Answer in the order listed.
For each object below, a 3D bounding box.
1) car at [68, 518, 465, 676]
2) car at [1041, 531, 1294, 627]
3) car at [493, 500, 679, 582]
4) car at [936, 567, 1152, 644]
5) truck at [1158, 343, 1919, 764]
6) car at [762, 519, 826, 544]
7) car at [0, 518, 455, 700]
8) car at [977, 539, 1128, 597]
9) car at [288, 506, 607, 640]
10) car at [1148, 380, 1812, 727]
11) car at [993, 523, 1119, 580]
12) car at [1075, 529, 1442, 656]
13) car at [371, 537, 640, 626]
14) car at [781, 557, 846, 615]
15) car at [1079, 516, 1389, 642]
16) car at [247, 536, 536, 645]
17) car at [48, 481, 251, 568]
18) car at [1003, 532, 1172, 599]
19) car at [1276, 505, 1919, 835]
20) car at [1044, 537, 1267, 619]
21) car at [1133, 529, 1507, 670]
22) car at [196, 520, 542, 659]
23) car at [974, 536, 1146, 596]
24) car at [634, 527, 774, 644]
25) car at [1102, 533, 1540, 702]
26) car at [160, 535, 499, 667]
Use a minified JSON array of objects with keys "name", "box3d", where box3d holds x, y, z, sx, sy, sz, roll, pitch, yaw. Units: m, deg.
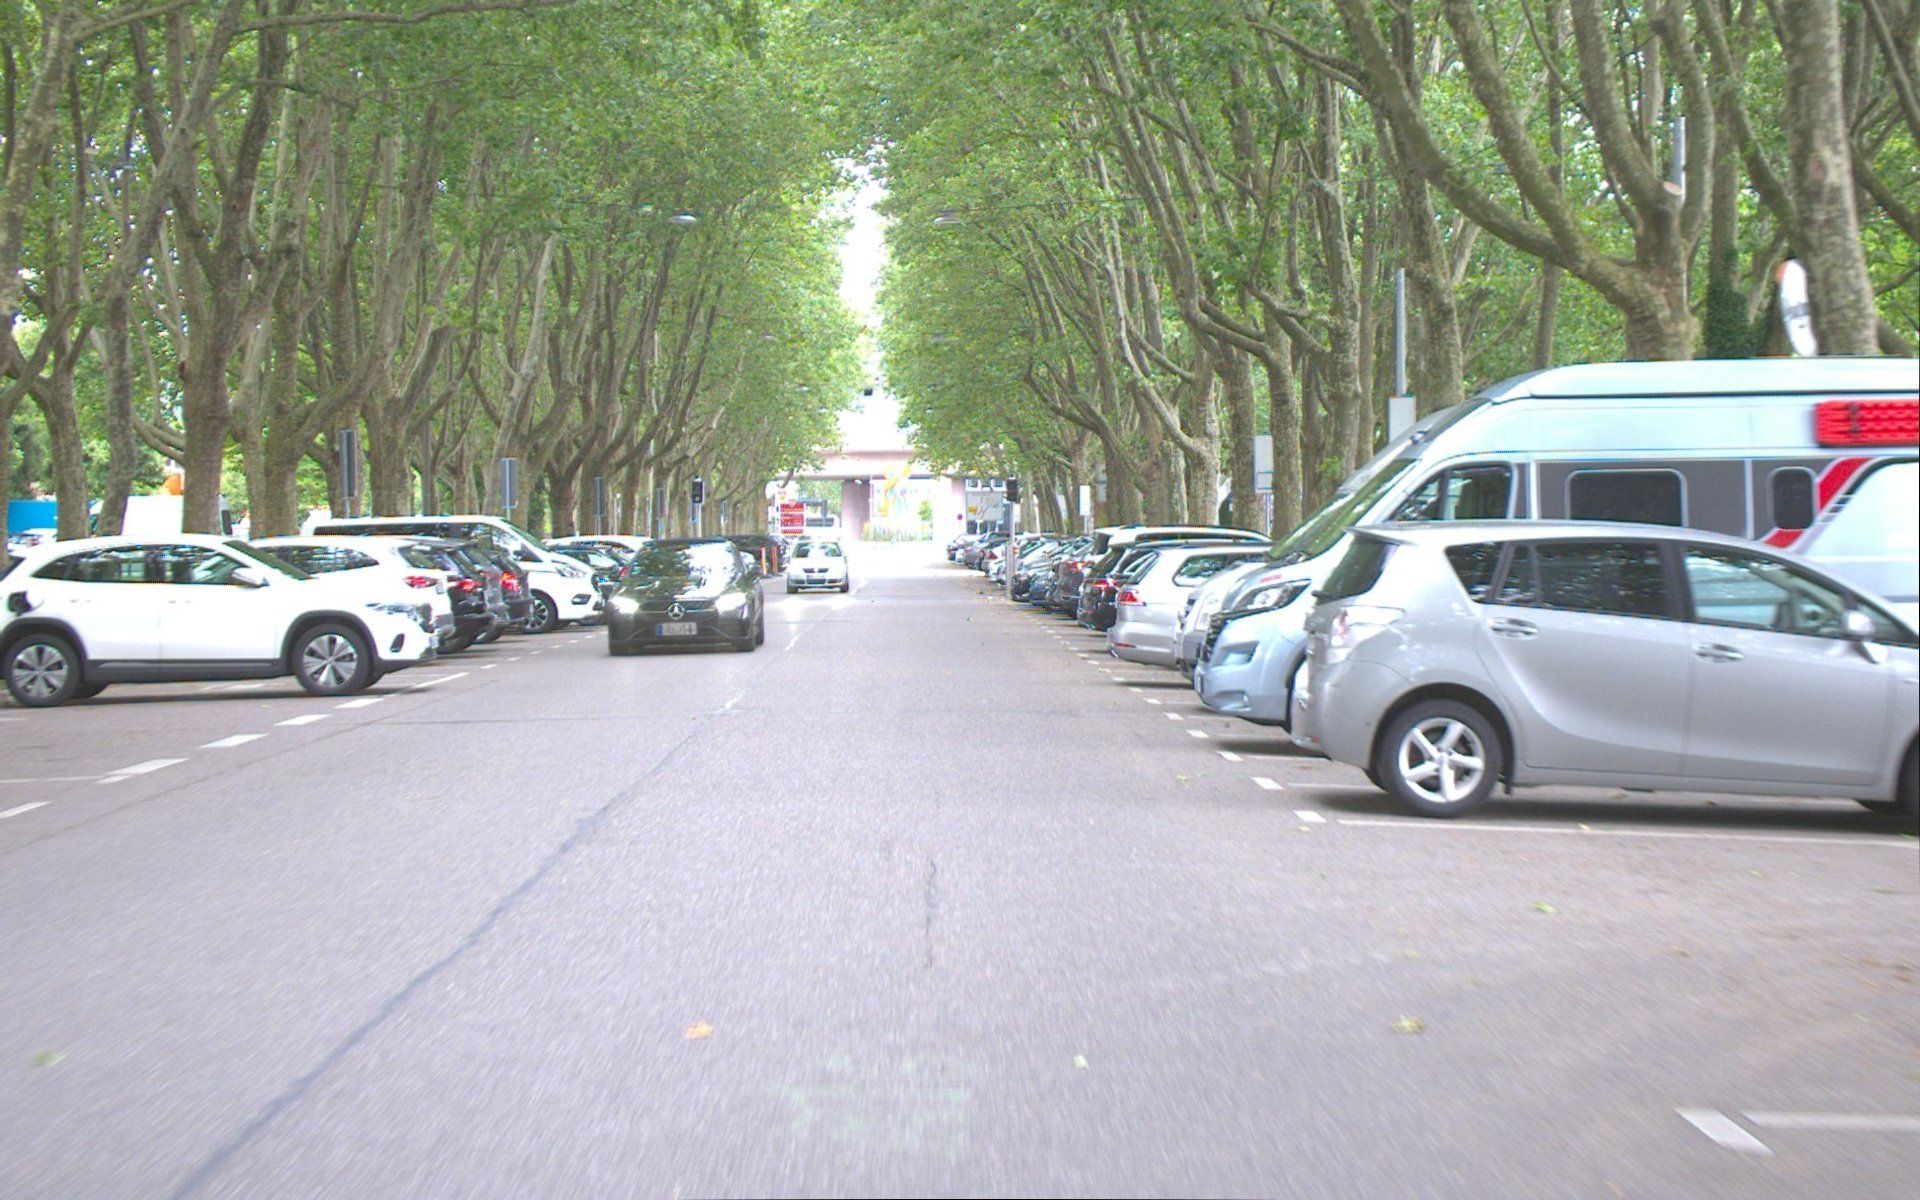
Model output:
[{"name":"car","box3d":[-8.259,-0.056,41.236,4.340,1.662,2.000,-2,1,-2]},{"name":"car","box3d":[3.381,-0.353,56.550,3.986,1.481,1.694,1,1,-2]},{"name":"car","box3d":[-7.963,-1.269,73.537,3.826,1.622,1.953,-2,1,-3]},{"name":"car","box3d":[1.667,0.101,69.018,4.211,1.446,1.611,1,1,-2]},{"name":"truck","box3d":[4.616,-0.312,23.812,6.293,2.706,2.098,1,1,-1]},{"name":"car","box3d":[-10.260,-4.238,213.056,3.814,1.510,1.686,1,1,3]},{"name":"car","box3d":[-7.240,0.072,33.428,4.379,1.591,2.000,-2,1,-2]},{"name":"car","box3d":[2.660,-0.924,99.072,4.166,1.591,1.855,1,1,-4]},{"name":"car","box3d":[-8.342,-0.451,56.273,4.893,2.012,1.920,-2,1,-1]},{"name":"car","box3d":[4.287,-0.395,28.994,5.228,2.680,1.957,2,1,0]},{"name":"car","box3d":[2.890,-1.477,104.090,3.645,1.661,1.519,1,1,-4]},{"name":"car","box3d":[3.801,-0.111,44.289,4.501,1.521,1.703,1,1,-2]},{"name":"car","box3d":[-8.089,-0.337,61.411,4.449,1.447,1.774,-2,1,4]},{"name":"car","box3d":[-3.992,-0.402,93.647,1.689,1.466,3.840,-2,1,-2]},{"name":"car","box3d":[4.042,-0.321,51.244,4.384,1.749,1.801,1,1,-2]},{"name":"car","box3d":[-8.370,-0.153,50.858,3.986,1.408,1.683,-2,1,-3]},{"name":"car","box3d":[-25.175,-2.334,106.907,5.786,2.588,2.000,1,1,0]},{"name":"car","box3d":[2.910,-0.805,79.070,3.775,1.465,1.667,1,1,-1]},{"name":"car","box3d":[3.990,0.367,18.923,4.340,1.612,1.803,2,1,2]},{"name":"car","box3d":[3.487,-0.396,61.660,3.826,1.384,1.694,1,1,-2]},{"name":"car","box3d":[4.115,-0.020,39.714,4.044,1.520,1.815,1,1,-2]},{"name":"car","box3d":[-7.971,-0.159,46.702,4.340,1.662,2.000,-2,1,-2]},{"name":"car","box3d":[2.573,-0.892,89.121,4.296,1.465,1.624,1,1,-4]},{"name":"car","box3d":[-3.296,-0.214,44.274,1.654,1.359,4.113,-3,1,-4]},{"name":"car","box3d":[3.520,0.163,34.053,4.120,1.424,1.703,3,1,1]},{"name":"car","box3d":[-7.983,-0.007,43.802,3.986,1.470,1.843,-2,1,-3]}]
